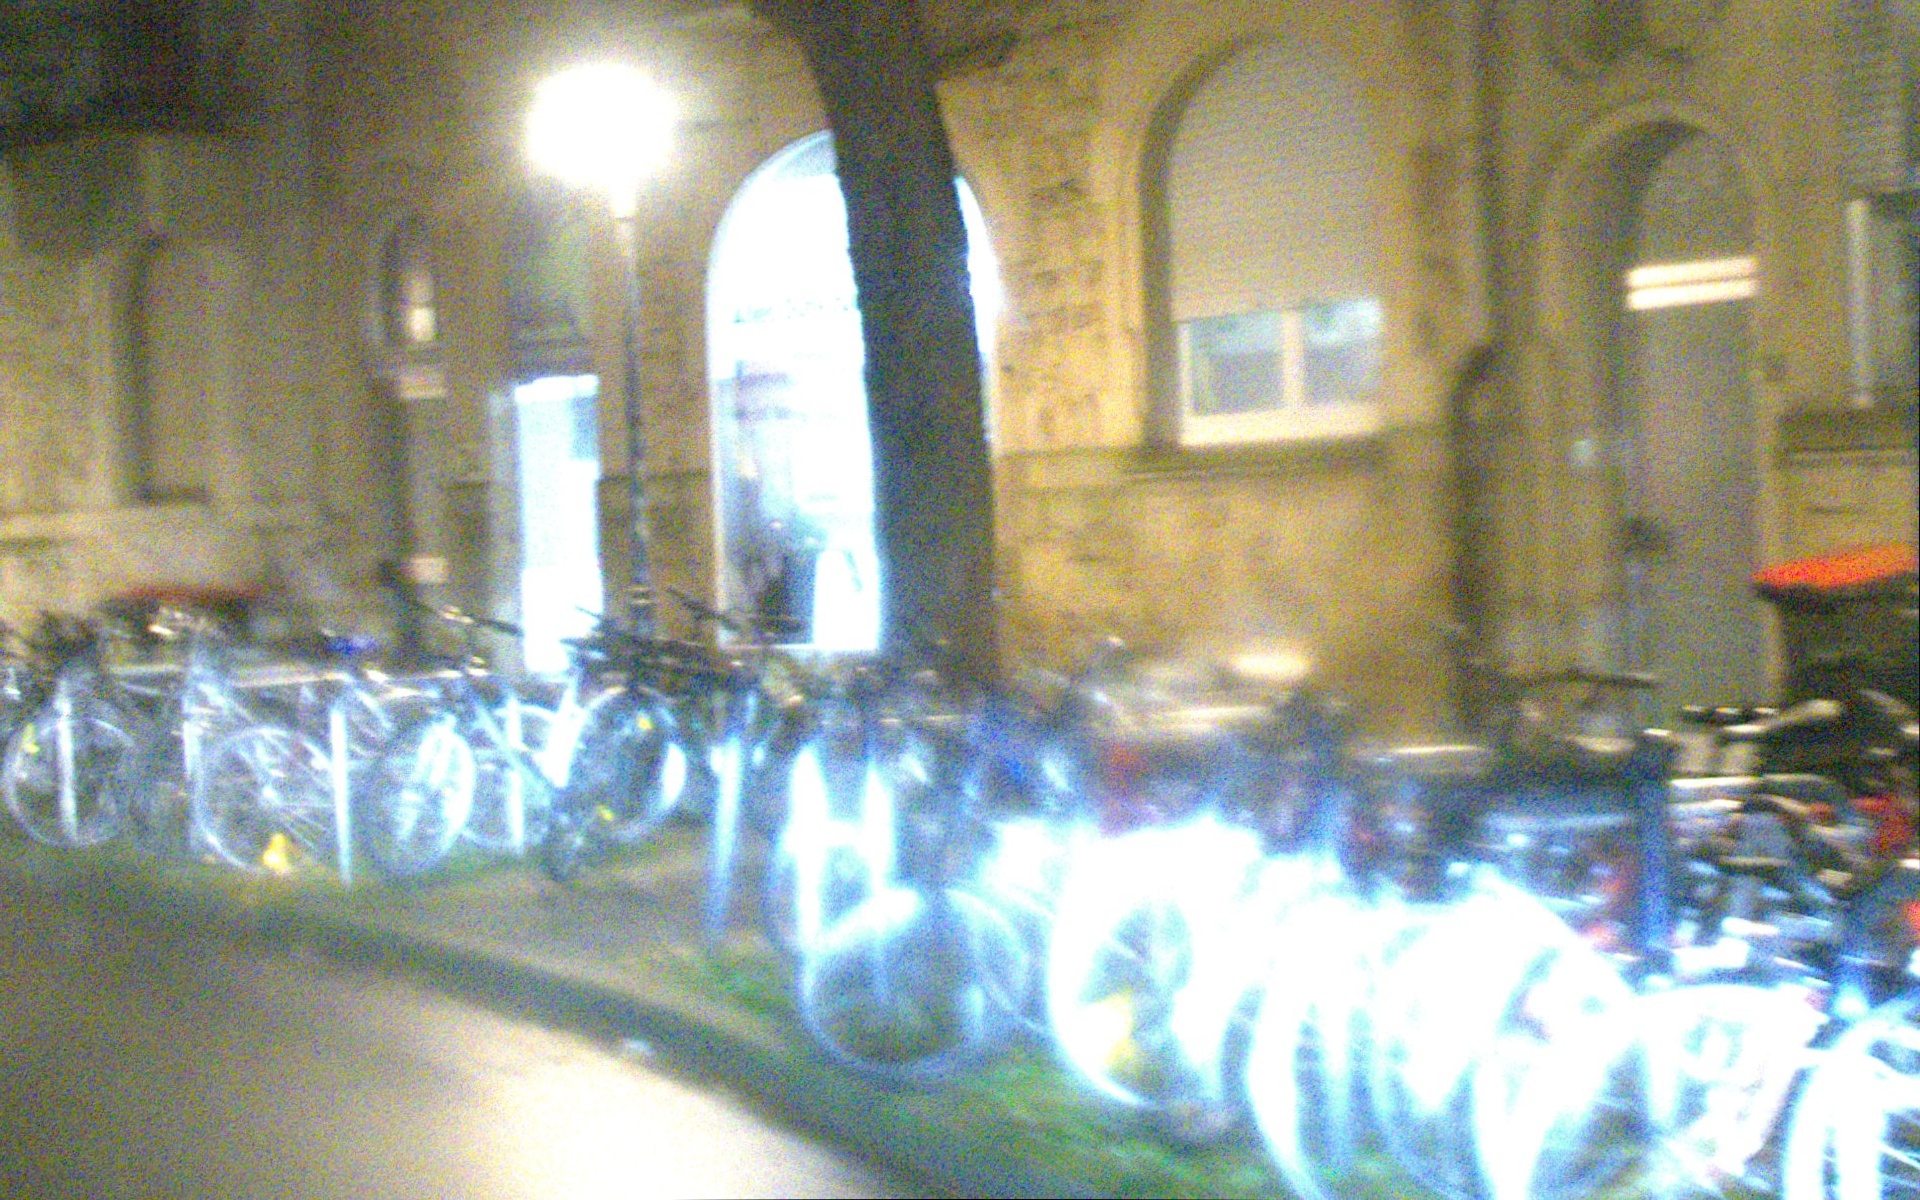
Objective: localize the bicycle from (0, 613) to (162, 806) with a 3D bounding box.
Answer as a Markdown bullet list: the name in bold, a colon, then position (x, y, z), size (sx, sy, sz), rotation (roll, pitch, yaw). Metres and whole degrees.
- **bicycle**: position (-5.610, 0.644, 19.524), size (1.969, 1.031, 0.642), rotation (-4, 2, -40)

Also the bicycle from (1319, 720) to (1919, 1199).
- **bicycle**: position (1.688, 0.733, 6.073), size (1.926, 0.984, 0.730), rotation (-3, 1, -11)

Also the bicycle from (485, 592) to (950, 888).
- **bicycle**: position (-0.999, 0.556, 14.449), size (1.820, 1.083, 0.721), rotation (-4, 2, -39)

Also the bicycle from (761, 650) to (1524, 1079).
- **bicycle**: position (0.491, 0.702, 9.516), size (1.968, 1.003, 0.642), rotation (-3, 1, -11)

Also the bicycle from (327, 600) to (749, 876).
- **bicycle**: position (-1.824, 0.578, 15.176), size (0.641, 1.050, 1.971), rotation (-2, 2, 35)

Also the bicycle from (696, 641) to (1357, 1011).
- **bicycle**: position (0.201, 0.693, 10.937), size (1.968, 1.003, 0.642), rotation (-3, 1, -11)

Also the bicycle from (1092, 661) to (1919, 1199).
- **bicycle**: position (1.345, 0.699, 7.612), size (1.968, 1.003, 0.642), rotation (-3, 1, -11)

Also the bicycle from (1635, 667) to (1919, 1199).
- **bicycle**: position (2.176, 0.653, 5.621), size (1.926, 1.111, 0.730), rotation (-3, 1, -11)

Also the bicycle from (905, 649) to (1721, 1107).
- **bicycle**: position (0.904, 0.691, 8.940), size (1.968, 1.003, 0.642), rotation (-3, 1, -11)

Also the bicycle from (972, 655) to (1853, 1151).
- **bicycle**: position (1.077, 0.697, 8.311), size (1.968, 1.003, 0.642), rotation (-3, 1, -11)

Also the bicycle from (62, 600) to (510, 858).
- **bicycle**: position (-3.172, 0.583, 16.307), size (1.969, 1.061, 0.642), rotation (-4, 2, -40)

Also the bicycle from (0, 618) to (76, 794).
- **bicycle**: position (-6.251, 0.665, 20.086), size (1.969, 1.003, 0.642), rotation (-4, 2, -40)

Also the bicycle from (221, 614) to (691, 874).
- **bicycle**: position (-2.228, 0.618, 15.199), size (1.968, 1.003, 0.642), rotation (-3, 1, -11)

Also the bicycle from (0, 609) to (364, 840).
- **bicycle**: position (-4.061, 0.603, 17.345), size (1.969, 1.003, 0.642), rotation (-4, 2, -40)

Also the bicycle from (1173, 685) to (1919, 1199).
- **bicycle**: position (1.491, 0.721, 6.911), size (1.968, 1.003, 0.688), rotation (-3, 1, -11)

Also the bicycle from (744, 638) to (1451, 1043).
- **bicycle**: position (0.397, 0.689, 10.259), size (1.968, 1.030, 0.642), rotation (-3, 1, -11)

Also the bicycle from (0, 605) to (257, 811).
- **bicycle**: position (-4.865, 0.584, 18.576), size (1.969, 1.003, 0.642), rotation (-4, 2, -40)
